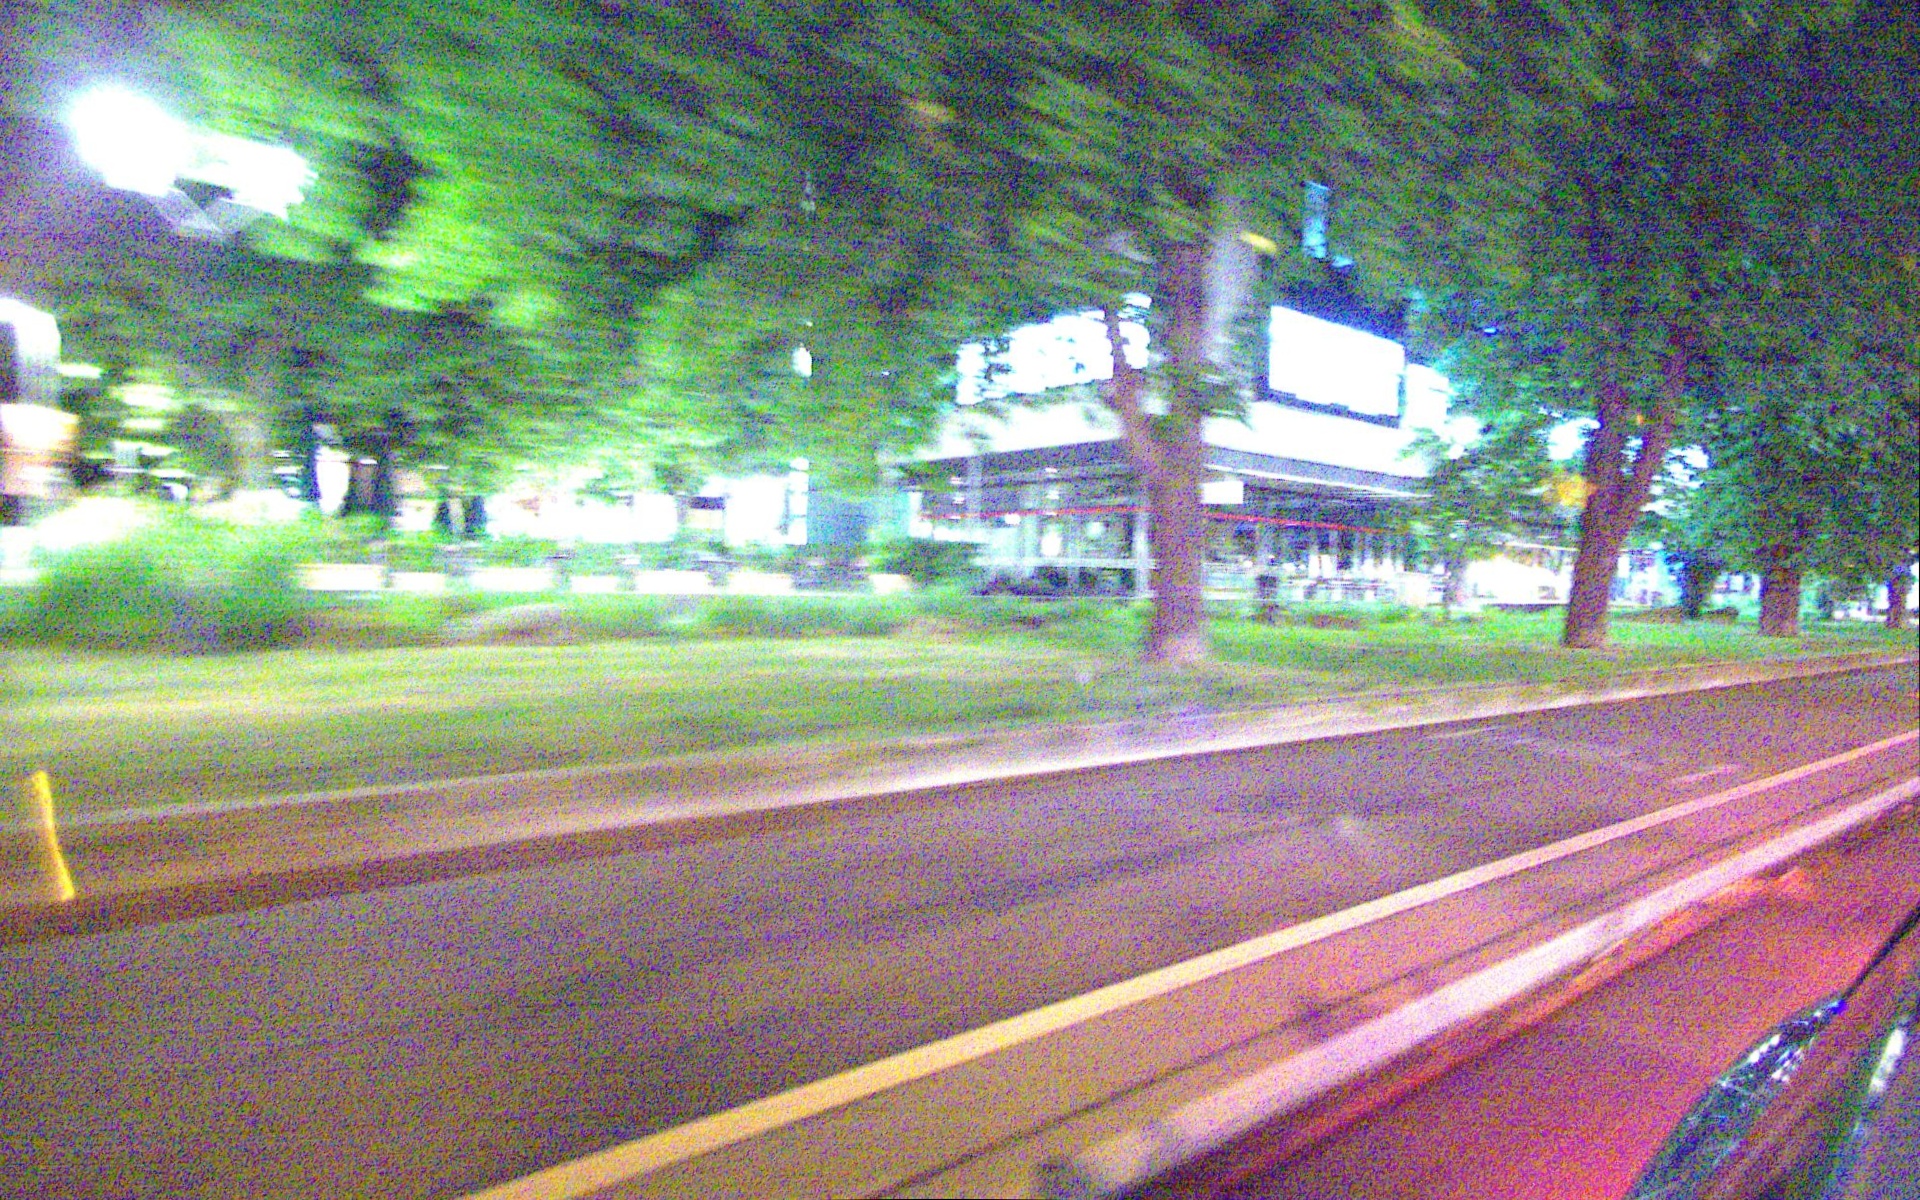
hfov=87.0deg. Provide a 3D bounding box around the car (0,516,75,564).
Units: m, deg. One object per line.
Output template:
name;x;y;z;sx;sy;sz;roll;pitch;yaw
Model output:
car;-32.189;-2.034;33.465;4.221;1.526;2.000;0;3;-37
